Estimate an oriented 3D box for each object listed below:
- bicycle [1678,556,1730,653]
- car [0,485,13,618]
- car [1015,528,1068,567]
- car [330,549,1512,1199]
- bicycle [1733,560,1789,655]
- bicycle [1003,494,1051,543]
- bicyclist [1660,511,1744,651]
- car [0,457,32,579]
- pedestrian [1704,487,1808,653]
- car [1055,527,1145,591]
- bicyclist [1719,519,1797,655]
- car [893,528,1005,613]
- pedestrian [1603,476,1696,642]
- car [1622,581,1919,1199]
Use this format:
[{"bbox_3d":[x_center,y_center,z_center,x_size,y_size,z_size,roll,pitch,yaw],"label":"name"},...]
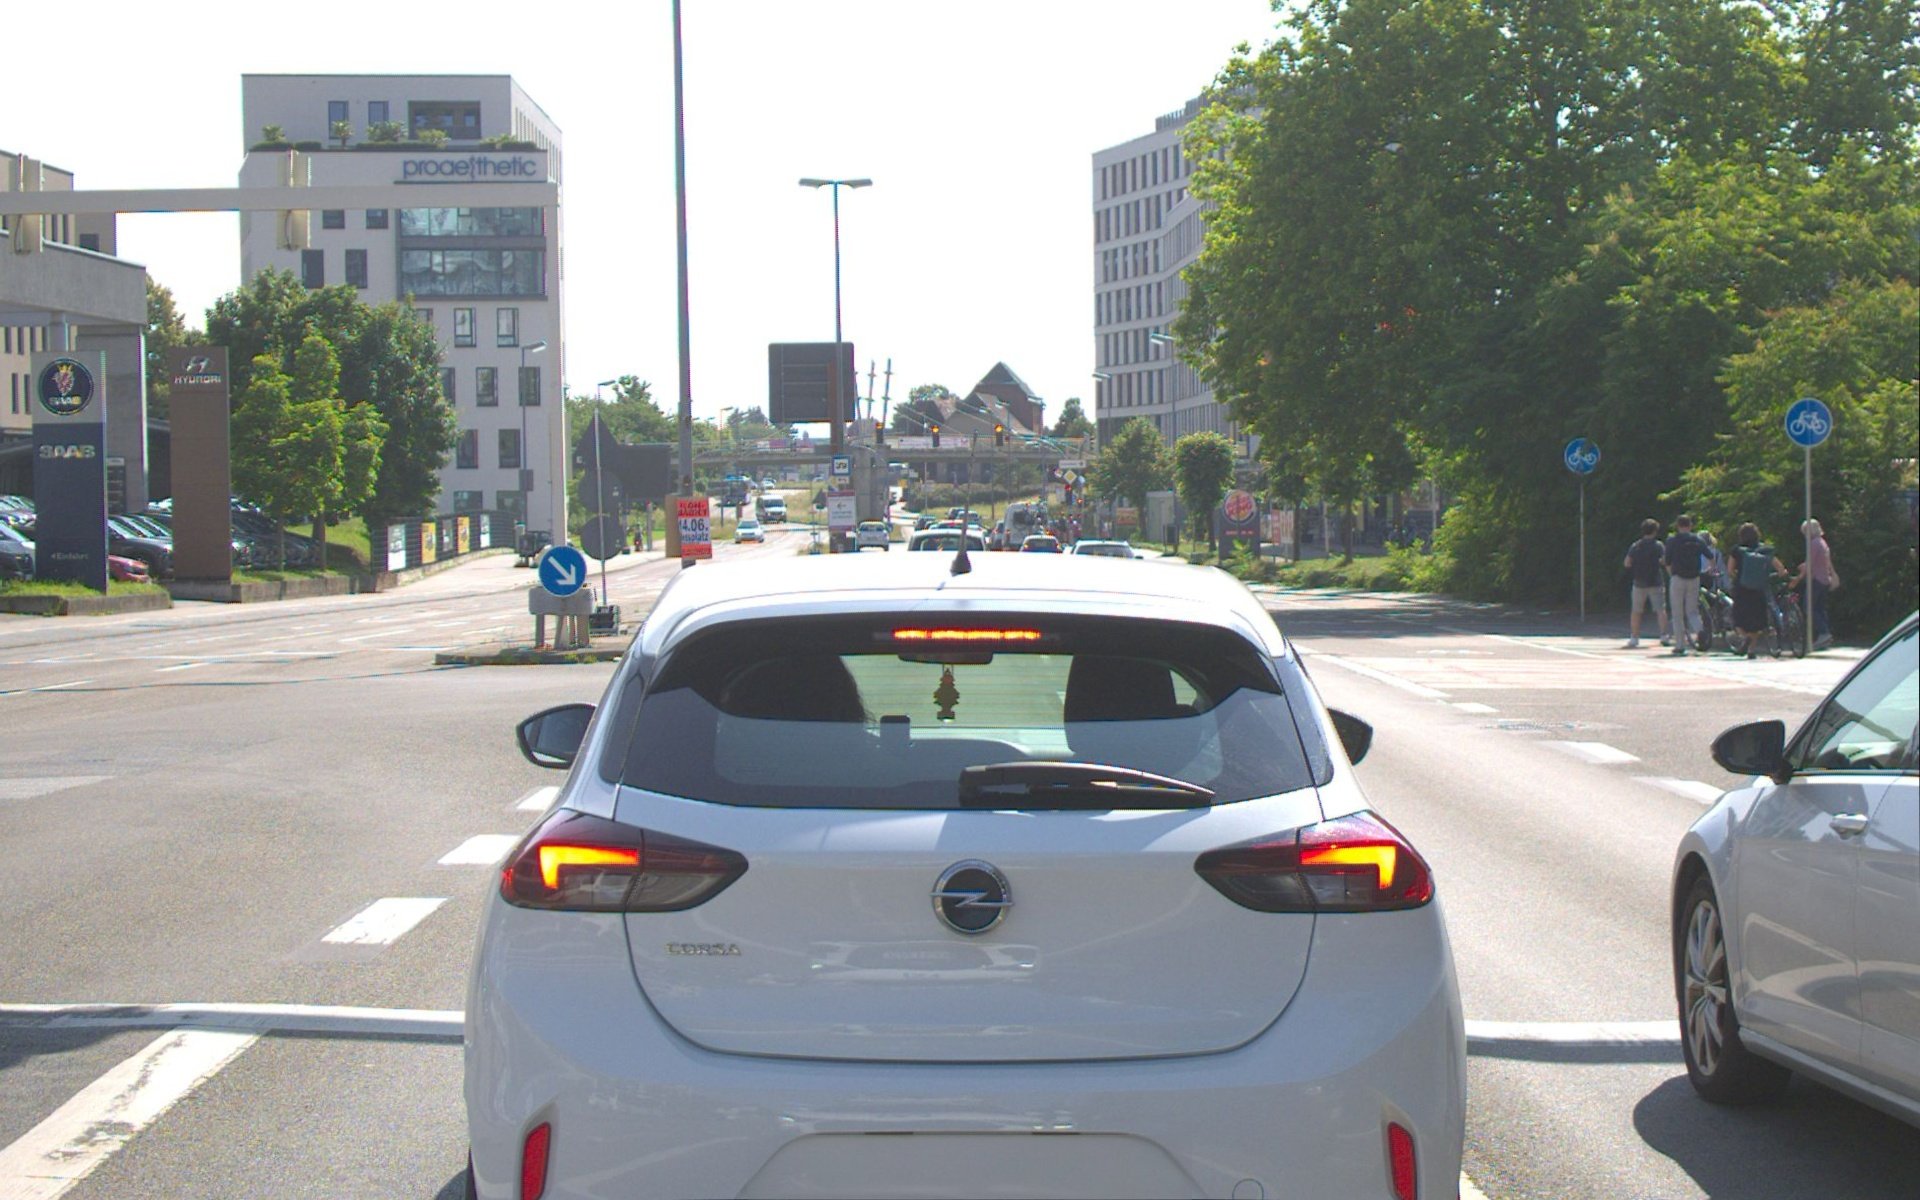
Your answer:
[{"bbox_3d":[9.487,0.045,43.848,0.372,1.212,1.154,1,1,0],"label":"bicycle"},{"bbox_3d":[-21.508,-0.950,68.675,4.498,2.675,2.128,0,1,8],"label":"car"},{"bbox_3d":[3.019,-1.937,128.188,1.806,1.381,4.000,1,0,-1],"label":"car"},{"bbox_3d":[-0.079,0.655,7.203,1.779,1.489,4.000,-1,1,-1],"label":"car"},{"bbox_3d":[9.783,0.087,42.017,0.373,1.143,1.034,1,0,-3],"label":"bicycle"},{"bbox_3d":[3.019,-3.678,155.181,1.993,2.150,4.000,-1,1,-1],"label":"bicycle"},{"bbox_3d":[9.454,-0.249,43.824,0.879,1.766,0.864,0,1,0],"label":"bicyclist"},{"bbox_3d":[-22.452,-1.743,73.992,4.357,2.592,2.000,0,1,5],"label":"car"},{"bbox_3d":[9.773,-0.376,42.242,1.027,2.007,1.039,-1,1,-1],"label":"pedestrian"},{"bbox_3d":[3.171,-0.925,78.400,1.806,1.381,4.000,1,0,-1],"label":"car"},{"bbox_3d":[9.760,-0.164,42.057,0.688,1.637,0.777,-1,1,-9],"label":"bicyclist"},{"bbox_3d":[-0.231,-0.523,61.011,1.806,1.381,4.000,2,0,-2],"label":"car"},{"bbox_3d":[9.412,-0.560,46.961,1.027,2.231,1.039,-1,1,-1],"label":"pedestrian"},{"bbox_3d":[2.835,0.682,7.760,1.807,1.424,4.000,-1,1,-1],"label":"car"}]
